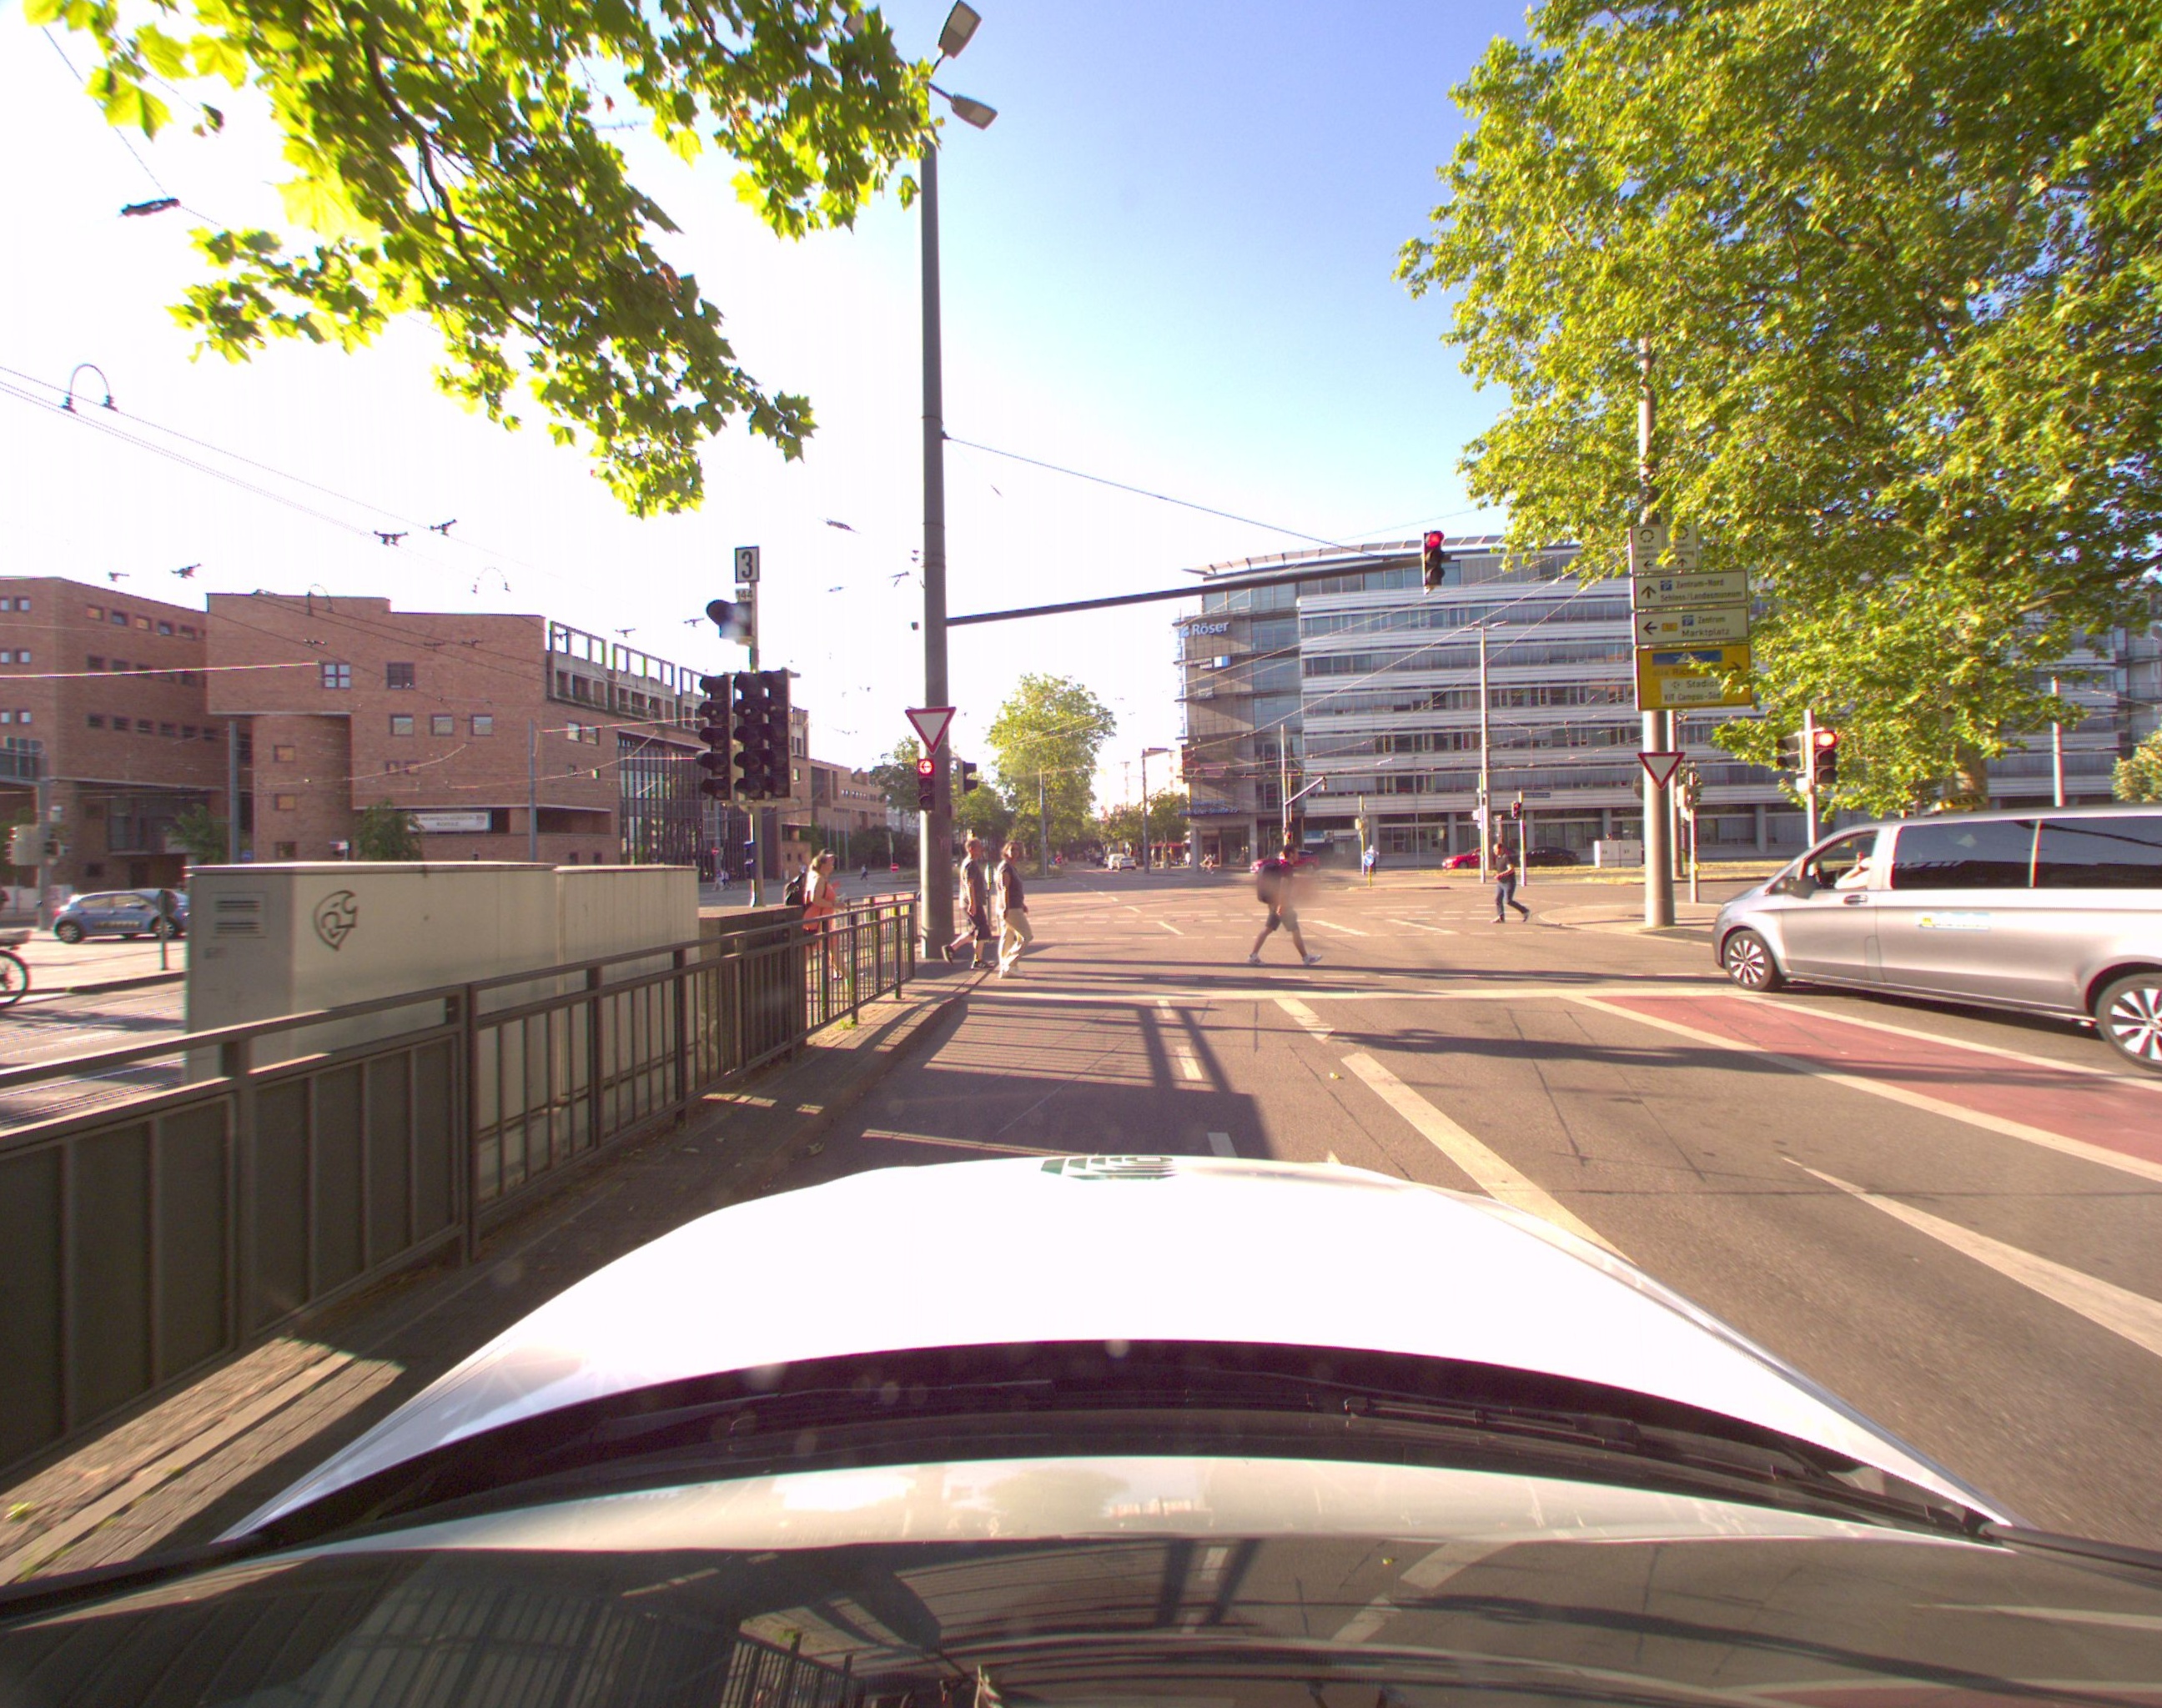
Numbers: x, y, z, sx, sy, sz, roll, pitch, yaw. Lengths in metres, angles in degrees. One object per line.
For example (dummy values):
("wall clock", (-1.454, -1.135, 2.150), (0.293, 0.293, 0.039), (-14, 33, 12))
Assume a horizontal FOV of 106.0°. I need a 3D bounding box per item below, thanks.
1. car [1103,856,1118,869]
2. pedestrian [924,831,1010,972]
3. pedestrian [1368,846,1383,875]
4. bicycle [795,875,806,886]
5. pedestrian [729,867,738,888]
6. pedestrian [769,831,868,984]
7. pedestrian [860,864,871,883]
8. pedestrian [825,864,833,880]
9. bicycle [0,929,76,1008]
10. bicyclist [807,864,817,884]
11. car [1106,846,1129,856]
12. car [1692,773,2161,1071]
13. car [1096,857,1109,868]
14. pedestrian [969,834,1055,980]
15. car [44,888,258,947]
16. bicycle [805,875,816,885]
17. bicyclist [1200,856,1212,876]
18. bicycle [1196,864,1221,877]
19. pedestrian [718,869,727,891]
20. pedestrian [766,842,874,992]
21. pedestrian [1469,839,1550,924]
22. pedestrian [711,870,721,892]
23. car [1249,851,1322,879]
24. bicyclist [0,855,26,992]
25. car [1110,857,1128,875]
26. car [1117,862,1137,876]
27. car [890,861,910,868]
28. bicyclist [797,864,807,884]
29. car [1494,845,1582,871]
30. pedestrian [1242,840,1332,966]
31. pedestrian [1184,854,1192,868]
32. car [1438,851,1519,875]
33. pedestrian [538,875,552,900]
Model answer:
("car", (4.004, 1.200, 110.389), (1.986, 1.662, 4.001), (-2, 0, 1))
("pedestrian", (-1.577, 0.641, 11.411), (1.143, 1.894, 0.831), (0, -1, -6))
("pedestrian", (17.232, 0.390, 47.719), (0.715, 1.682, 0.558), (0, -1, 8))
("bicycle", (-24.610, 2.330, 71.398), (0.512, 0.881, 1.835), (-2, 0, -6))
("pedestrian", (-27.018, 1.835, 63.284), (0.538, 1.650, 0.622), (-2, -1, -17))
("pedestrian", (-3.340, 0.658, 10.441), (1.072, 1.871, 0.737), (0, -1, -6))
("pedestrian", (-17.973, 1.630, 67.880), (0.753, 1.530, 0.507), (0, -1, -6))
("pedestrian", (-29.988, 2.121, 96.835), (0.637, 1.810, 0.547), (-2, -1, 8))
("bicycle", (-14.507, 1.489, 10.436), (2.175, 0.933, 0.666), (-1, -1, -7))
("bicyclist", (-23.698, 1.773, 71.752), (0.592, 1.675, 0.788), (-2, -1, -5))
("car", (6.601, -0.522, 146.688), (3.733, 1.750, 1.789), (0, -1, 16))
("car", (8.181, 0.455, 7.104), (1.986, 1.966, 5.139), (0, 0, 2))
("car", (3.506, 1.354, 132.124), (1.986, 1.662, 4.001), (-2, 0, 1))
("pedestrian", (-0.897, 0.666, 10.576), (1.070, 1.806, 0.756), (0, -1, -6))
("car", (-27.660, 1.855, 24.334), (3.944, 1.456, 1.998), (-2, 0, -2))
("bicycle", (-23.790, 2.286, 71.689), (0.512, 0.881, 1.835), (-2, 0, -6))
("bicyclist", (9.011, 0.862, 58.782), (0.814, 1.366, 0.401), (-2, -1, 7))
("bicycle", (9.207, 1.189, 58.762), (1.732, 0.899, 0.410), (-2, -1, 6))
("pedestrian", (-28.408, 2.052, 64.480), (0.538, 1.650, 0.622), (-2, -1, -17))
("pedestrian", (-3.053, 0.710, 9.615), (1.071, 1.682, 0.756), (0, -1, -6))
("pedestrian", (9.444, 0.595, 17.997), (1.206, 1.822, 1.040), (0, -1, -4))
("pedestrian", (-27.847, 2.032, 62.107), (0.538, 1.650, 0.622), (-2, -1, -17))
("car", (13.185, 0.698, 52.655), (4.228, 1.602, 1.795), (-2, -1, -1))
("bicyclist", (-14.497, 0.914, 10.459), (0.848, 1.785, 0.751), (-2, -1, -7))
("car", (4.436, 1.334, 95.056), (1.986, 1.992, 4.001), (-2, 0, 1))
("car", (4.998, 1.618, 88.269), (1.986, 1.332, 4.001), (-2, 0, 1))
("car", (-39.761, 2.332, 178.541), (4.011, 1.552, 1.592), (1, -1, -30))
("bicyclist", (-24.464, 1.769, 71.511), (0.592, 1.675, 0.788), (-2, -1, -5))
("car", (27.405, 0.217, 48.967), (4.219, 1.392, 1.799), (-2, -1, 6))
("pedestrian", (2.881, 0.676, 11.458), (1.070, 1.715, 0.628), (0, -1, -2))
("pedestrian", (11.776, 0.753, 89.698), (0.737, 1.465, 0.537), (-2, -1, 0))
("car", (25.272, 0.573, 51.881), (4.219, 1.392, 1.798), (-2, -1, 6))
("pedestrian", (-35.509, 2.199, 53.967), (0.538, 1.613, 0.575), (-2, -1, 32))
